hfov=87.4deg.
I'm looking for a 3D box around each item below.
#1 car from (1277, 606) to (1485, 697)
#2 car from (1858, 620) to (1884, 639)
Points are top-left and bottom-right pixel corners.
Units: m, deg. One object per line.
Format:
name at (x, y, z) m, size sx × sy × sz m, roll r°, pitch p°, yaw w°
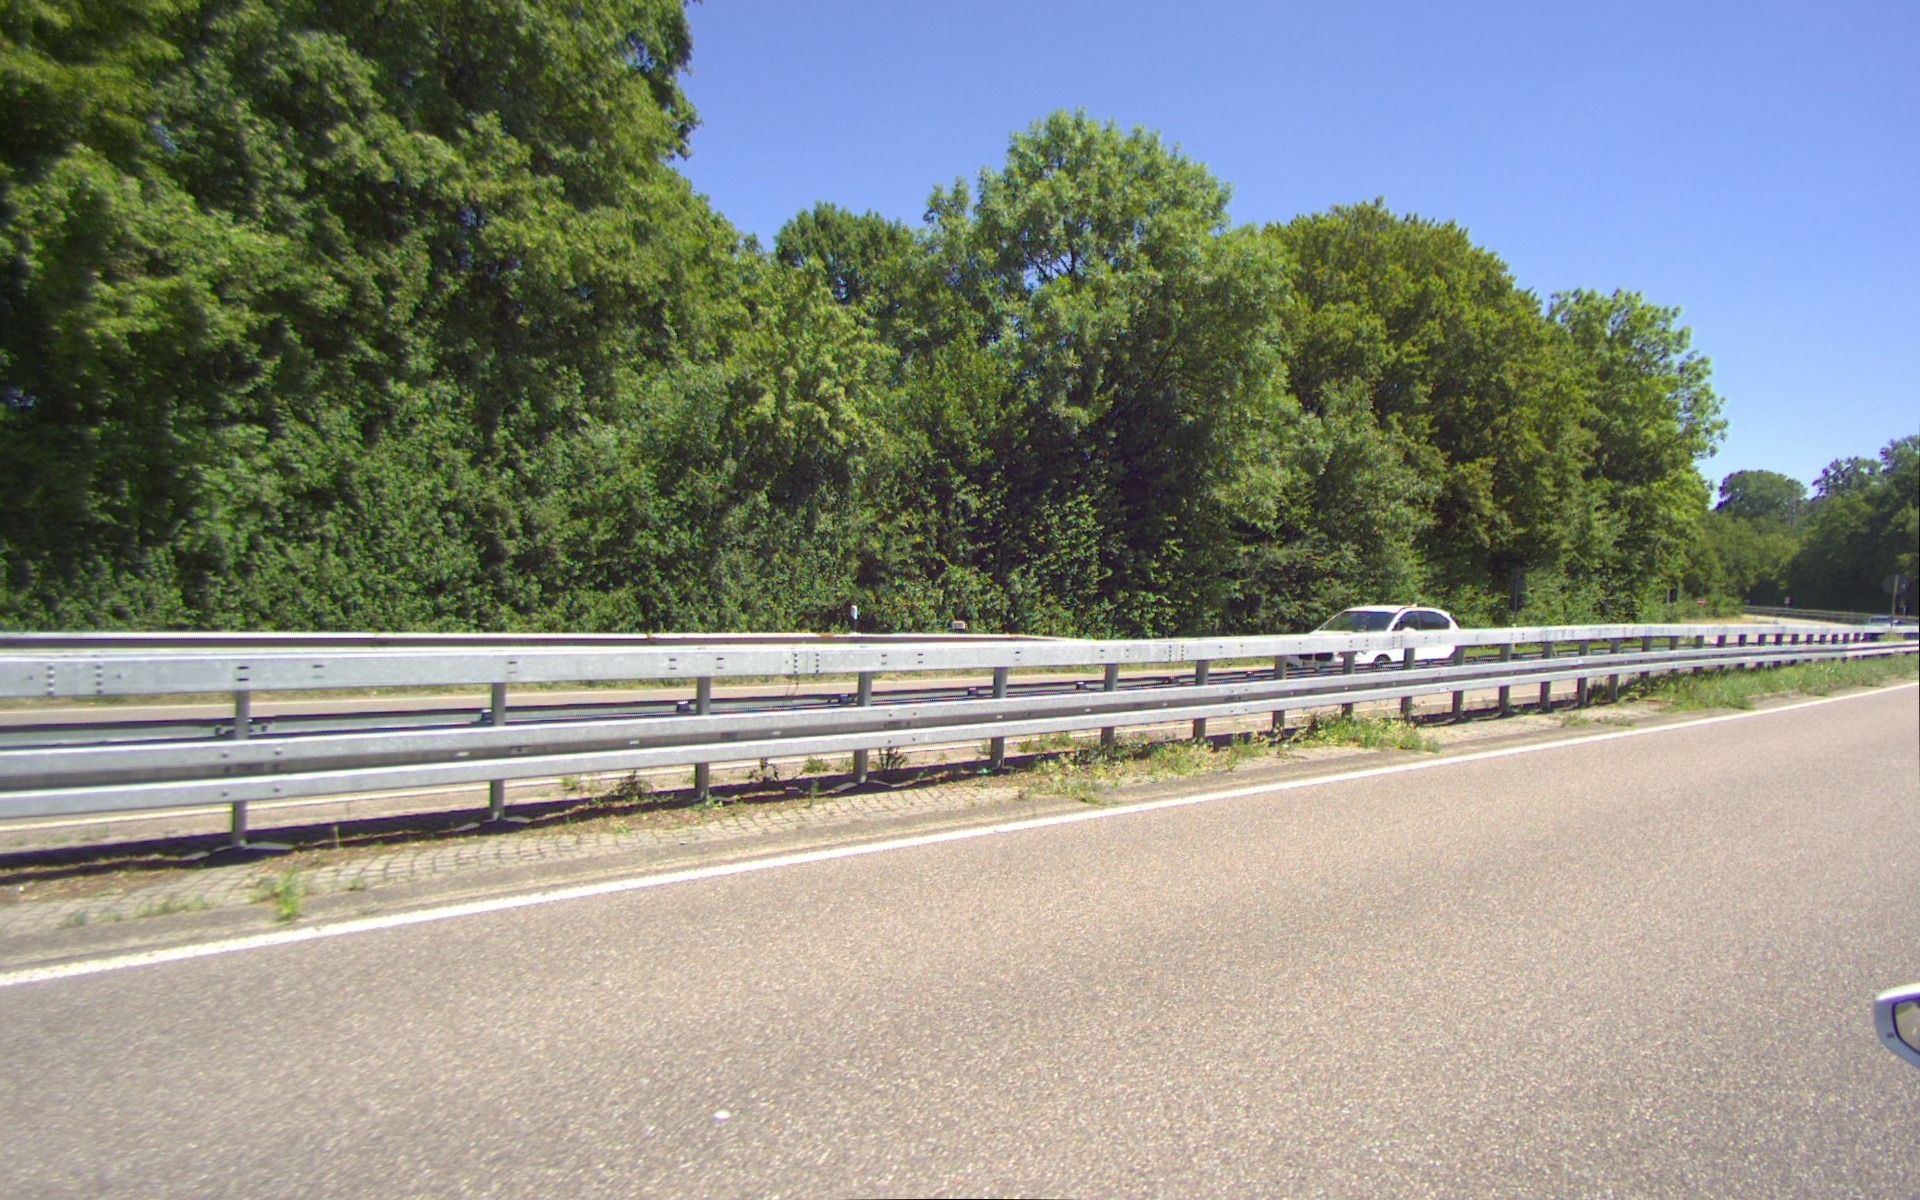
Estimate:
car at (8.343, 0.952, 19.766) m, size 4.371 × 1.594 × 1.744 m, roll 1°, pitch 0°, yaw -36°
car at (71.950, 2.290, 79.347) m, size 1.424 × 1.399 × 3.829 m, roll 1°, pitch 0°, yaw 41°
